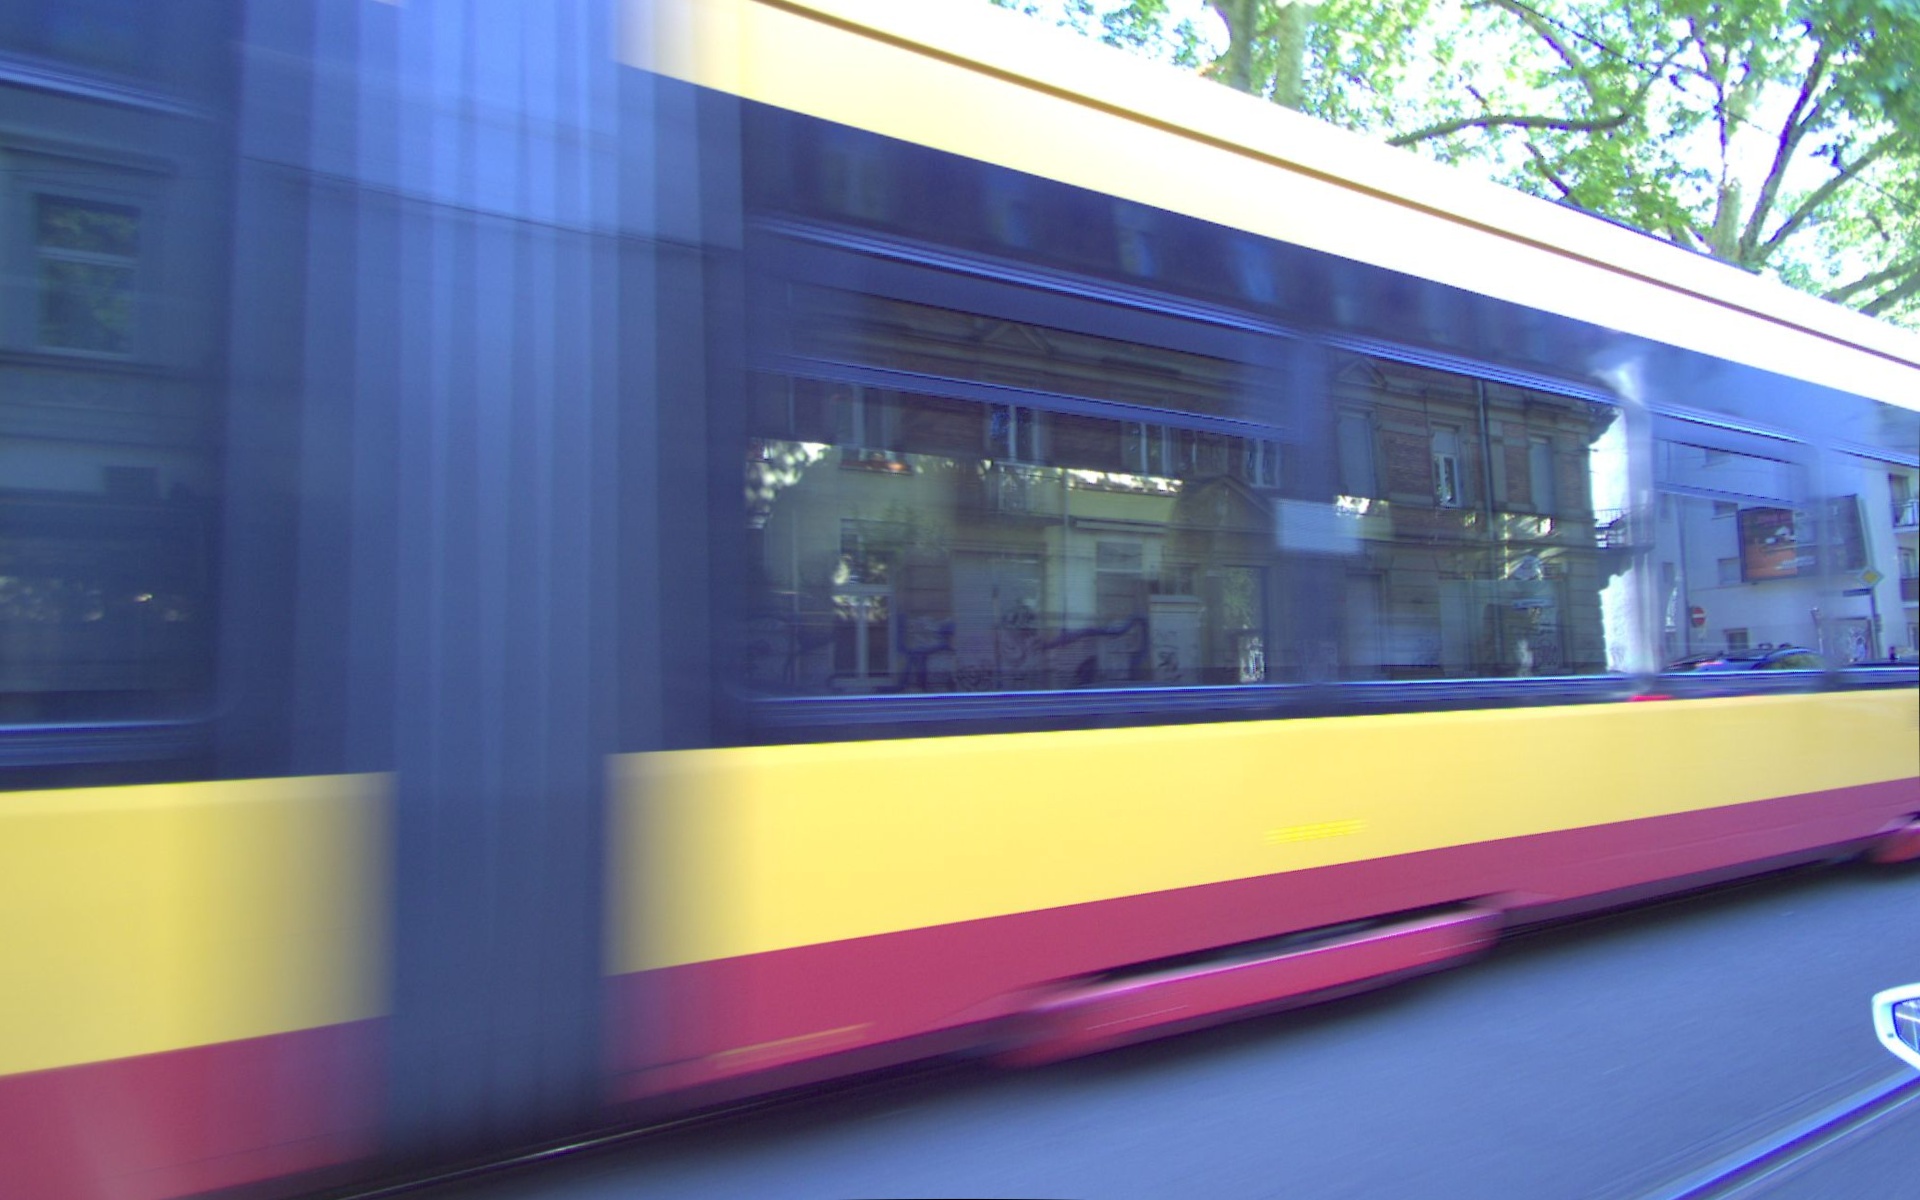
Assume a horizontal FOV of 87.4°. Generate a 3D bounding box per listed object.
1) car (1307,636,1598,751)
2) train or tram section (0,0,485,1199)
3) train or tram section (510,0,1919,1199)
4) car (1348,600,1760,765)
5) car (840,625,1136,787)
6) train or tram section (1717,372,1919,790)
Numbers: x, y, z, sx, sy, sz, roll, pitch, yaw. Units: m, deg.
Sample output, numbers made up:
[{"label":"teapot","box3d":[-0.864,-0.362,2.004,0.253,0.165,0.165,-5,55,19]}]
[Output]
[{"label":"car","box3d":[8.253,1.486,17.208,1.882,1.517,4.124,2,0,-30]},{"label":"train or tram section","box3d":[-7.060,-0.470,0.447,12.257,3.667,2.924,2,0,-28]},{"label":"train or tram section","box3d":[3.450,-0.234,6.168,11.119,3.667,2.925,2,0,-28]},{"label":"car","box3d":[10.641,1.279,18.844,1.975,2.440,6.574,0,1,-28]},{"label":"car","box3d":[0.139,1.110,12.214,1.846,1.465,4.041,0,1,-28]},{"label":"train or tram section","box3d":[13.175,-0.018,11.458,10.925,3.667,2.925,2,0,-28]}]
